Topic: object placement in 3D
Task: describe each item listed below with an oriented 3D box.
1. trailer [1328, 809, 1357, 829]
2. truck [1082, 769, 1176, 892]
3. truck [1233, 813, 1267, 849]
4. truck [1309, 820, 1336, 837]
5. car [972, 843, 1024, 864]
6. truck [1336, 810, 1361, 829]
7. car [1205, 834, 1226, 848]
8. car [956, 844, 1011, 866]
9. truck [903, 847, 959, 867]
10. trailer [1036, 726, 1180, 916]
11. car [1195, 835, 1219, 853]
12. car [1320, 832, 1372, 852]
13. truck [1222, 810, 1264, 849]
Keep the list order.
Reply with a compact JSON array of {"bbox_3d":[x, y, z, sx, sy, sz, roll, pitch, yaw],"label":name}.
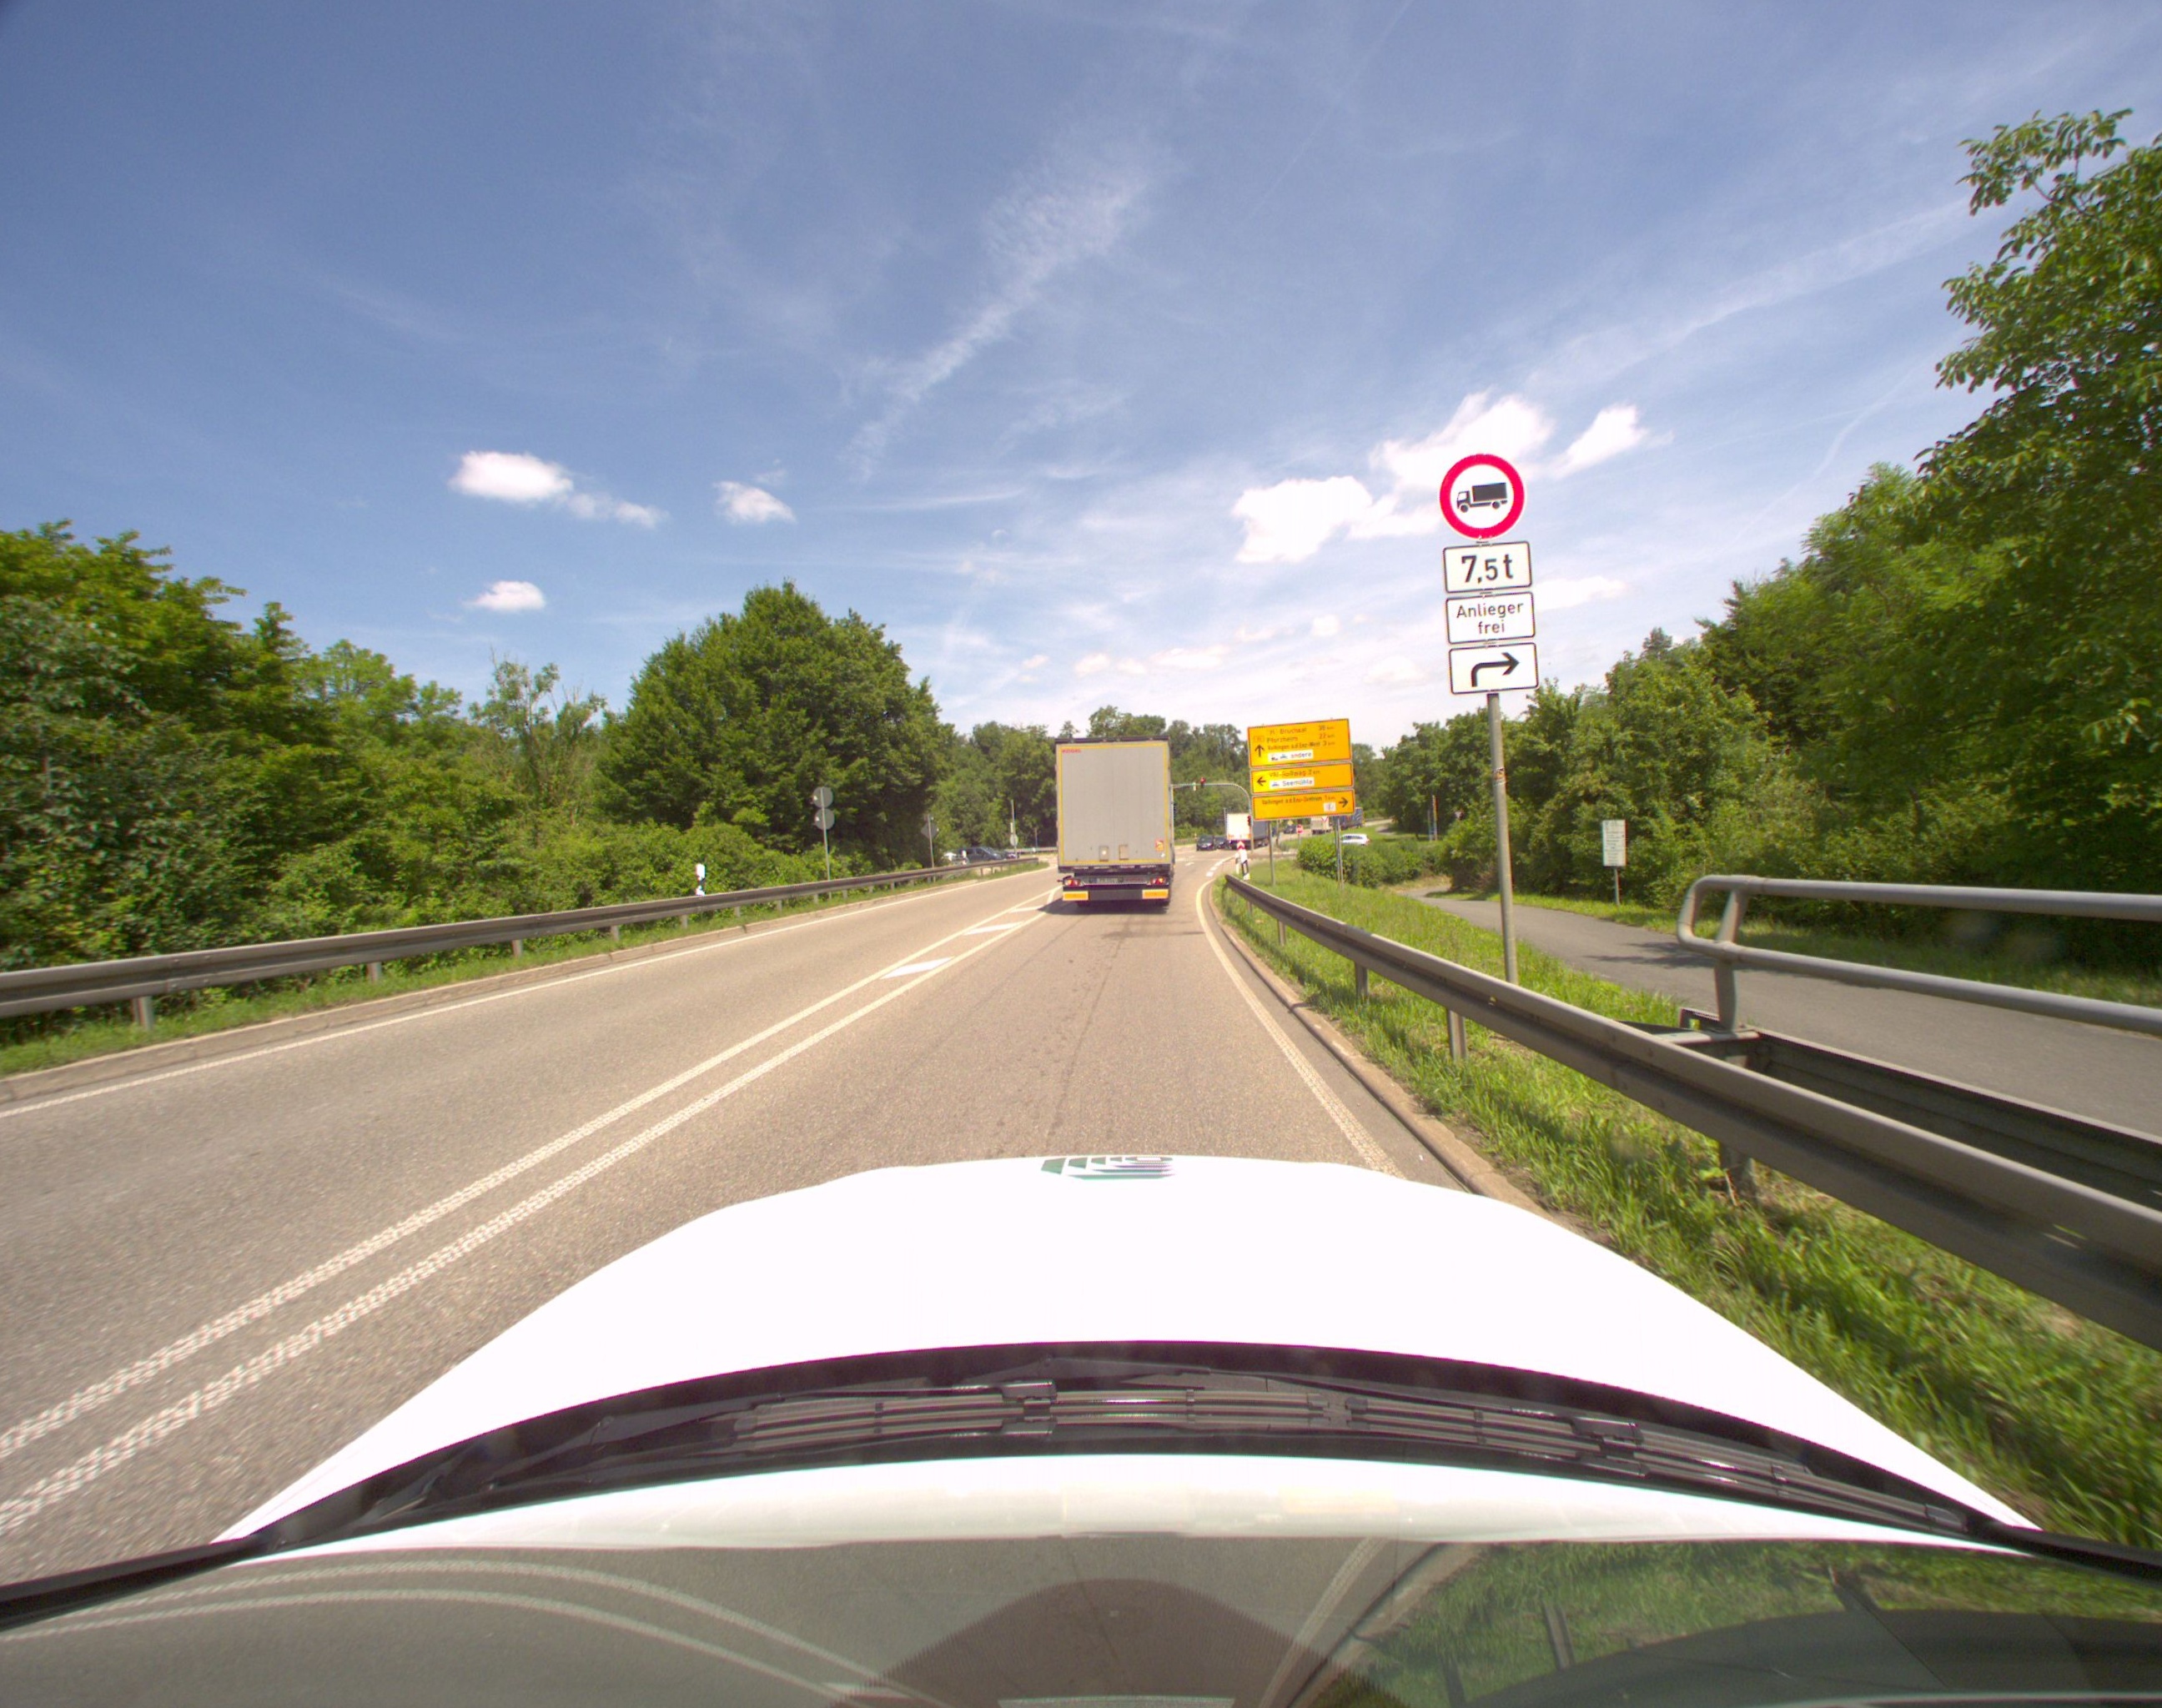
[{"bbox_3d":[50.280,-6.598,156.284,3.220,3.685,9.310,-1,1,31],"label":"trailer"},{"bbox_3d":[1.958,-0.795,30.554,3.023,4.033,6.641,-1,0,6],"label":"truck"},{"bbox_3d":[20.103,-2.650,96.658,3.143,4.004,5.842,-1,0,18],"label":"truck"},{"bbox_3d":[42.099,-4.446,141.803,2.828,2.947,7.150,-1,1,31],"label":"truck"},{"bbox_3d":[-7.641,-0.018,74.782,4.199,1.770,2.010,-1,0,19],"label":"car"},{"bbox_3d":[52.607,-6.769,160.124,3.220,3.685,6.284,-1,1,31],"label":"truck"},{"bbox_3d":[15.670,-1.439,94.677,1.979,1.491,4.273,0,-1,14],"label":"car"},{"bbox_3d":[-8.484,0.106,70.722,4.199,1.770,2.010,-1,0,19],"label":"car"},{"bbox_3d":[-13.757,0.262,74.841,4.865,1.791,2.041,0,-1,-3],"label":"truck"},{"bbox_3d":[1.239,-0.740,23.942,3.036,4.033,12.580,-1,0,6],"label":"trailer"},{"bbox_3d":[13.662,-1.024,88.023,1.978,1.785,4.963,-1,-1,16],"label":"car"},{"bbox_3d":[23.846,-1.089,73.462,4.396,1.718,2.008,0,-1,14],"label":"car"},{"bbox_3d":[18.266,-2.616,91.127,3.153,4.029,11.800,-1,0,18],"label":"truck"}]
